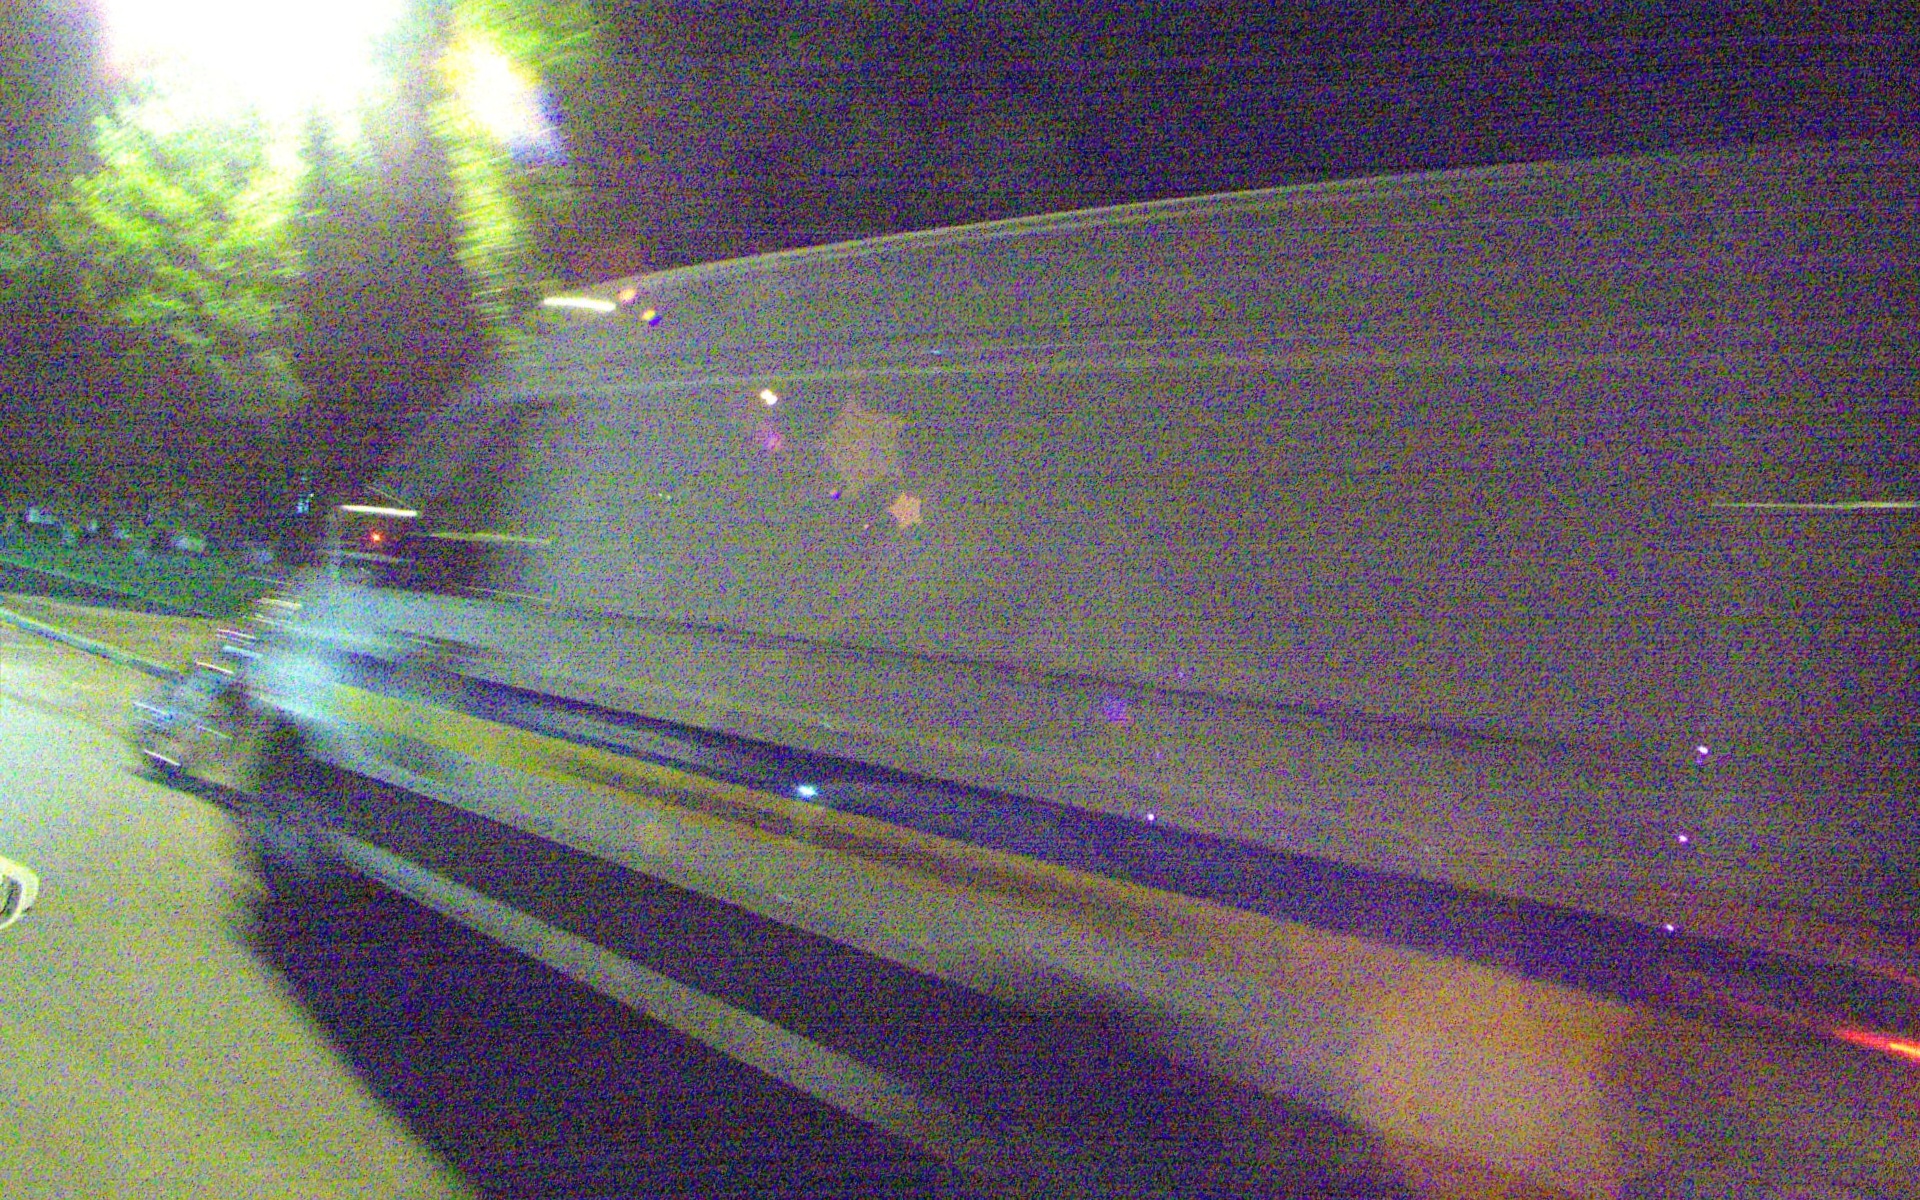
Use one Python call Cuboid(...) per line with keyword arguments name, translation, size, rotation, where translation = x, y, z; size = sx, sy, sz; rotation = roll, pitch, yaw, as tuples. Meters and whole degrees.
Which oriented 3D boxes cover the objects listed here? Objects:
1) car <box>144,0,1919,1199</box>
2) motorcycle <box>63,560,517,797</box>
Cuboid(name="car", translation=(-0.397, 0.236, 3.610), size=(5.953, 2.556, 2.023), rotation=(7, -1, 33))
Cuboid(name="motorcycle", translation=(-4.053, 0.513, 6.353), size=(2.159, 1.197, 0.764), rotation=(9, -1, -25))
